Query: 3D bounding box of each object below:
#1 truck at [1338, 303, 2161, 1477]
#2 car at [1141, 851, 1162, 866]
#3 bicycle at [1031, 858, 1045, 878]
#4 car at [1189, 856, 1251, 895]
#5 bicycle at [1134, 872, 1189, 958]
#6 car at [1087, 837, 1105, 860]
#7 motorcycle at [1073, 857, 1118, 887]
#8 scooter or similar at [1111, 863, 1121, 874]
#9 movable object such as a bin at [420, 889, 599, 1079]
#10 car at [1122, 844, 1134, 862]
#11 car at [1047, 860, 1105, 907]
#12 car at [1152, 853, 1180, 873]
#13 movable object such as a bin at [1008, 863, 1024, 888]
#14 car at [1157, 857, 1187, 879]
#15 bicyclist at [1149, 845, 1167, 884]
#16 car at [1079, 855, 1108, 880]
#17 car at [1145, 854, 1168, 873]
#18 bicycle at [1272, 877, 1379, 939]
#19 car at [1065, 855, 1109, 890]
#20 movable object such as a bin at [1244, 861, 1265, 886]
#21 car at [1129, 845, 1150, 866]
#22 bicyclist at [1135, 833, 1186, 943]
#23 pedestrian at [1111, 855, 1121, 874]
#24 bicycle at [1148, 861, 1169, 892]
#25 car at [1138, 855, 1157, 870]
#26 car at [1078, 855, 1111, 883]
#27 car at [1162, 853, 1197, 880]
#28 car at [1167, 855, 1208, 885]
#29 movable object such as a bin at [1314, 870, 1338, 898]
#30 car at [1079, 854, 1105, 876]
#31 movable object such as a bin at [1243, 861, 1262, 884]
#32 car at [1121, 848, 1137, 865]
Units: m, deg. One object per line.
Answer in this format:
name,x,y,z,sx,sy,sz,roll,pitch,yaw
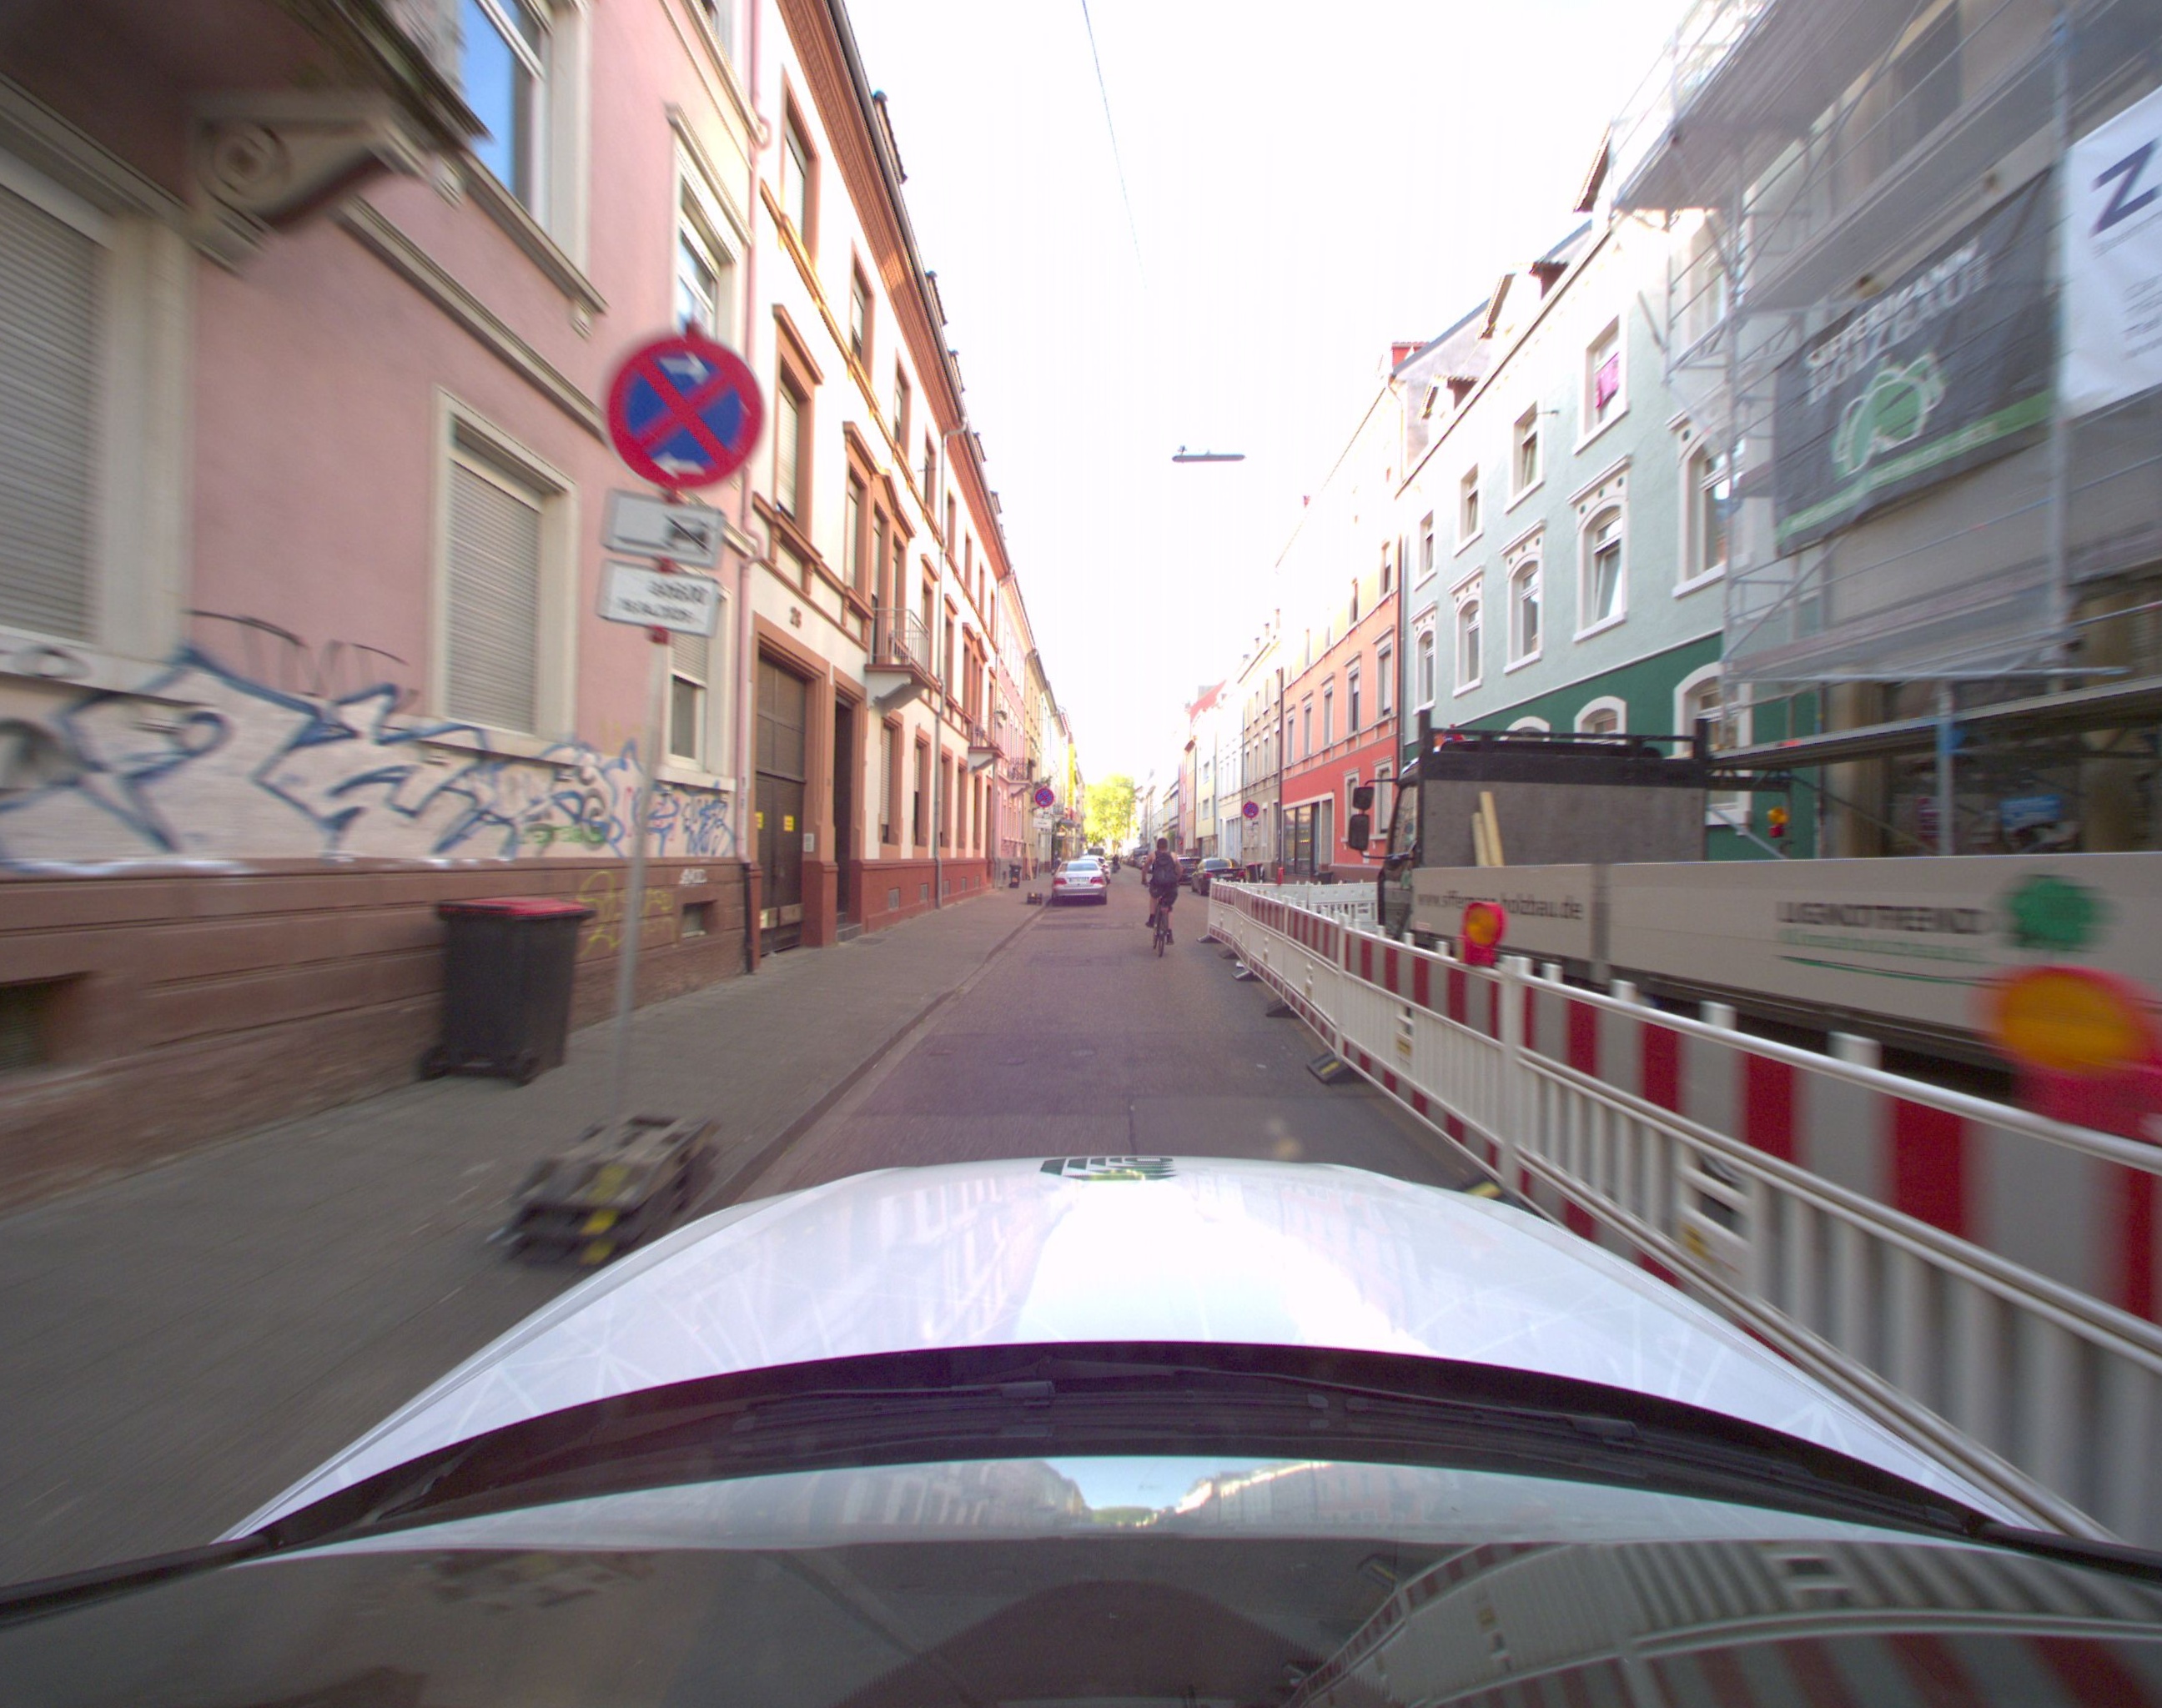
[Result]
truck,4.019,0.131,5.066,2.651,2.814,7.396,2,0,2
car,6.509,0.418,75.598,1.704,1.393,4.001,-1,-1,1
bicycle,-2.391,0.764,45.482,0.590,1.089,2.079,2,0,2
car,5.642,0.839,33.634,1.810,1.438,4.791,-1,-1,1
bicycle,1.229,0.900,12.841,0.699,1.208,2.343,0,-1,2
car,1.627,-0.584,91.329,1.904,2.497,4.164,0,0,-1
motorcycle,0.728,0.897,41.032,2.151,1.359,0.537,-2,0,-17
scooter or similar,2.900,1.199,67.134,0.768,0.873,0.770,2,-1,0
movable object such as a bin,-3.404,0.748,4.900,0.603,1.035,0.596,2,-1,0
car,10.052,-0.113,175.435,2.299,3.768,6.771,-1,-1,1
car,-0.083,0.902,26.634,1.704,1.383,4.506,-1,-1,1
car,6.288,0.664,60.521,1.704,1.383,4.001,-1,-1,1
movable object such as a bin,-2.570,0.846,32.327,0.541,0.945,0.487,2,-1,2
car,6.112,0.919,55.065,1.704,1.383,4.001,-1,-1,1
bicyclist,3.275,0.445,34.659,0.699,1.605,0.813,1,1,1
car,0.785,0.806,49.677,1.666,1.442,3.769,-1,-1,1
car,6.473,0.828,70.127,1.615,1.550,4.001,-1,-1,1
bicycle,4.701,1.036,15.681,1.847,1.110,0.642,2,-1,-6
car,0.330,0.797,36.972,1.703,1.383,4.360,1,1,4
movable object such as a bin,7.966,0.889,37.386,0.735,1.075,0.676,-2,-1,-5
car,7.298,0.240,102.560,2.299,2.538,6.771,-1,-1,1
bicyclist,1.215,0.516,12.659,0.699,1.633,1.090,0,-1,1
pedestrian,2.909,0.857,67.603,0.768,1.578,0.900,2,-1,0
bicycle,3.281,0.946,34.729,0.699,1.208,2.343,1,1,1
car,7.095,0.899,86.866,1.704,1.447,4.001,-1,-1,1
car,0.730,0.785,43.823,1.666,1.442,4.166,-1,-1,1
car,5.969,0.752,49.605,1.704,1.556,4.001,-1,-1,1
car,5.741,0.848,44.337,1.810,1.521,4.001,-1,-1,1
movable object such as a bin,8.194,0.986,27.267,0.595,0.906,0.579,-2,-1,0
car,0.748,0.733,55.238,1.666,1.442,3.754,-1,-1,1
movable object such as a bin,8.095,0.866,38.511,0.803,1.075,0.678,-2,-1,6
car,7.533,0.447,128.065,2.299,2.538,6.771,-1,-1,1
